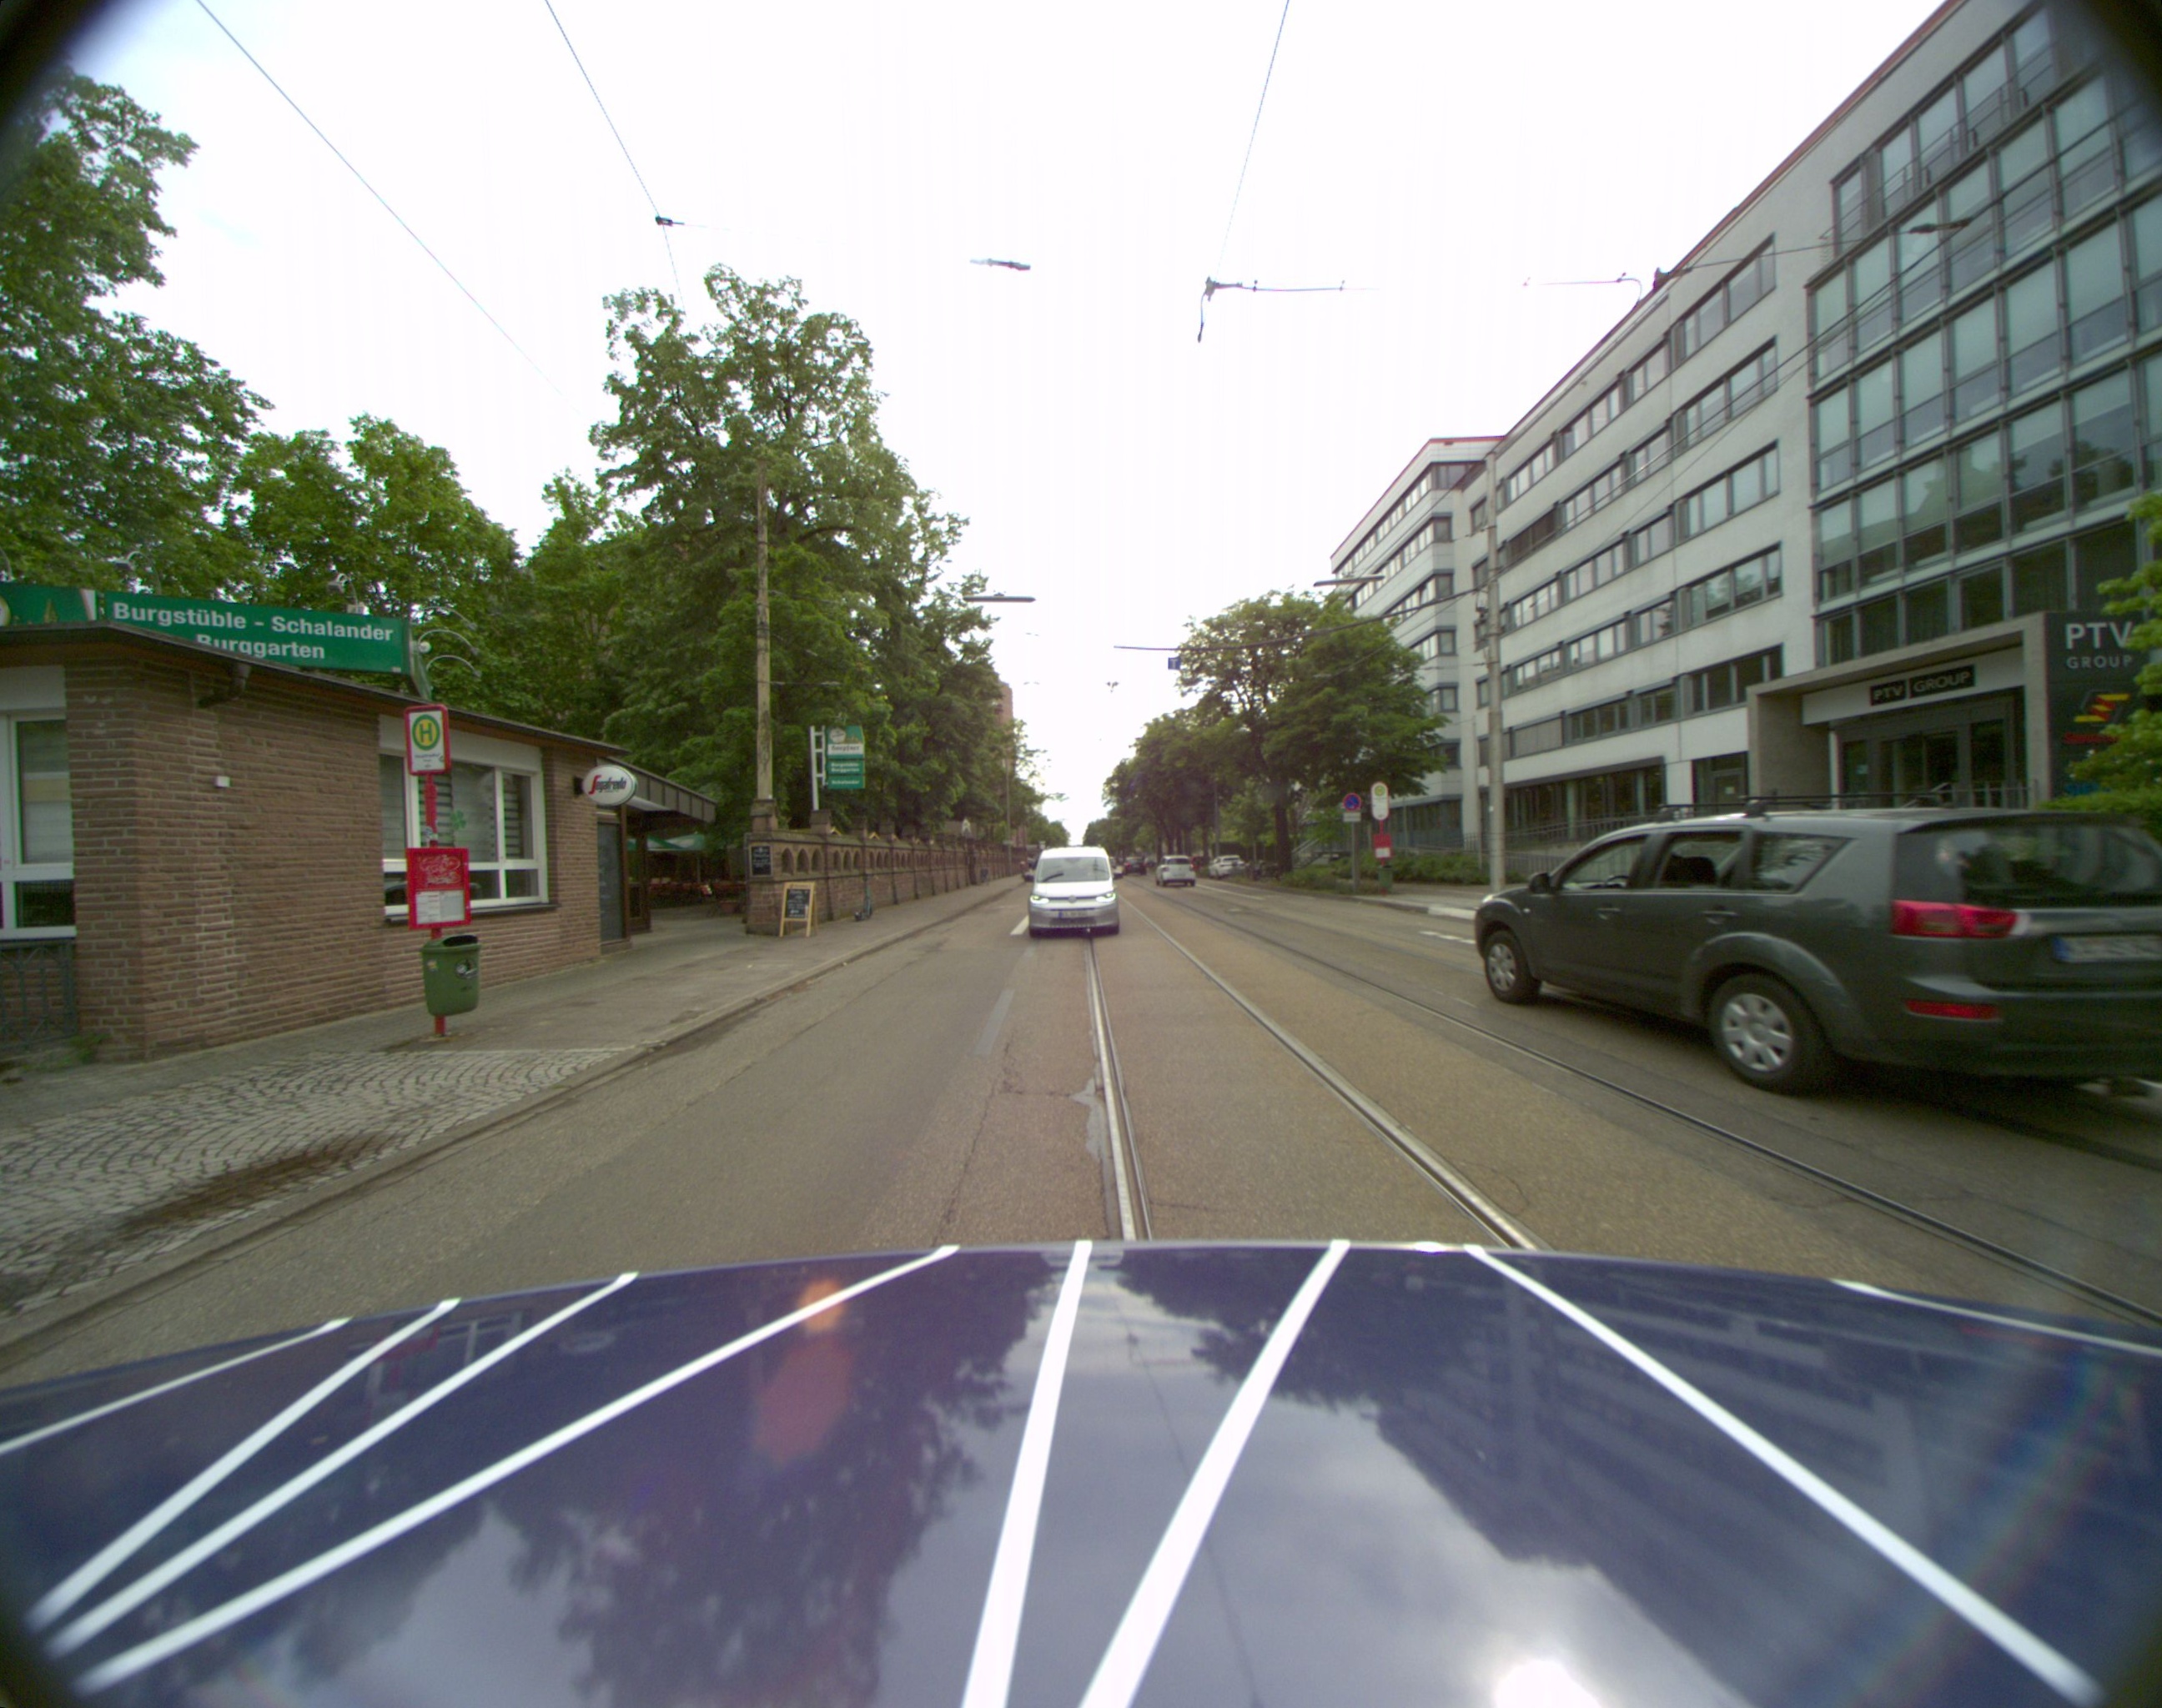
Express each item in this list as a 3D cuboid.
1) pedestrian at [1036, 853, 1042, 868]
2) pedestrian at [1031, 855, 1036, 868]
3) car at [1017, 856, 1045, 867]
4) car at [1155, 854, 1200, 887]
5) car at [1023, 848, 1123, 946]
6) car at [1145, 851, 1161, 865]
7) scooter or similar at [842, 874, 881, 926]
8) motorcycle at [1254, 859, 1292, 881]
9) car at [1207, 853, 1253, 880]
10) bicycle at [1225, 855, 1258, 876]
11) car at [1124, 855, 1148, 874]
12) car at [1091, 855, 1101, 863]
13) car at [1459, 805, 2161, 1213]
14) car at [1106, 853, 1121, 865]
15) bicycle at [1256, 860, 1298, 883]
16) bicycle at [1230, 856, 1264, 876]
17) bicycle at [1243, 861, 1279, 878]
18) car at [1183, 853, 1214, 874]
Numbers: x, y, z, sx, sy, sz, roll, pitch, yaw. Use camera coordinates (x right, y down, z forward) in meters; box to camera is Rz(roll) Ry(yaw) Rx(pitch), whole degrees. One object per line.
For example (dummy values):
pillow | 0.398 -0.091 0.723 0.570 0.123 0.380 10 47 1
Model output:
pedestrian | -5.299 0.818 95.709 0.723 1.834 0.897 -1 1 -3
pedestrian | -5.972 0.931 95.647 0.559 1.645 0.771 0 1 -3
car | -8.041 1.161 121.609 3.993 1.608 2.002 2 1 11
car | 4.847 0.798 38.631 1.708 1.521 3.741 -1 1 -1
car | -0.147 0.784 16.691 1.850 1.797 4.936 -1 1 0
car | 9.365 0.536 99.233 1.815 1.699 4.000 -3 1 3
scooter or similar | -5.661 1.172 19.667 0.578 1.232 1.410 1 1 1
motorcycle | 10.104 0.827 40.034 1.793 1.044 0.732 -3 1 -7
car | 9.363 0.766 48.105 1.886 1.485 4.753 -3 0 0
bicycle | 9.529 0.666 45.211 1.868 1.180 0.632 -1 1 4
car | 4.547 0.855 63.265 1.752 1.477 4.063 -1 -1 0
car | 3.003 1.048 152.071 1.745 1.490 4.260 -2 0 -2
car | 4.741 0.631 5.429 1.832 1.727 4.334 -2 1 -1
car | 4.539 0.708 106.201 1.847 1.644 4.389 0 0 0
bicycle | 9.740 0.848 37.809 1.834 1.047 0.741 -2 0 -8
bicycle | 9.610 0.711 44.050 1.811 1.094 0.632 -1 1 -6
bicycle | 9.871 0.850 41.660 1.811 0.894 0.632 -1 1 -6
car | 9.468 0.756 61.404 1.632 1.439 3.756 -5 1 -3
